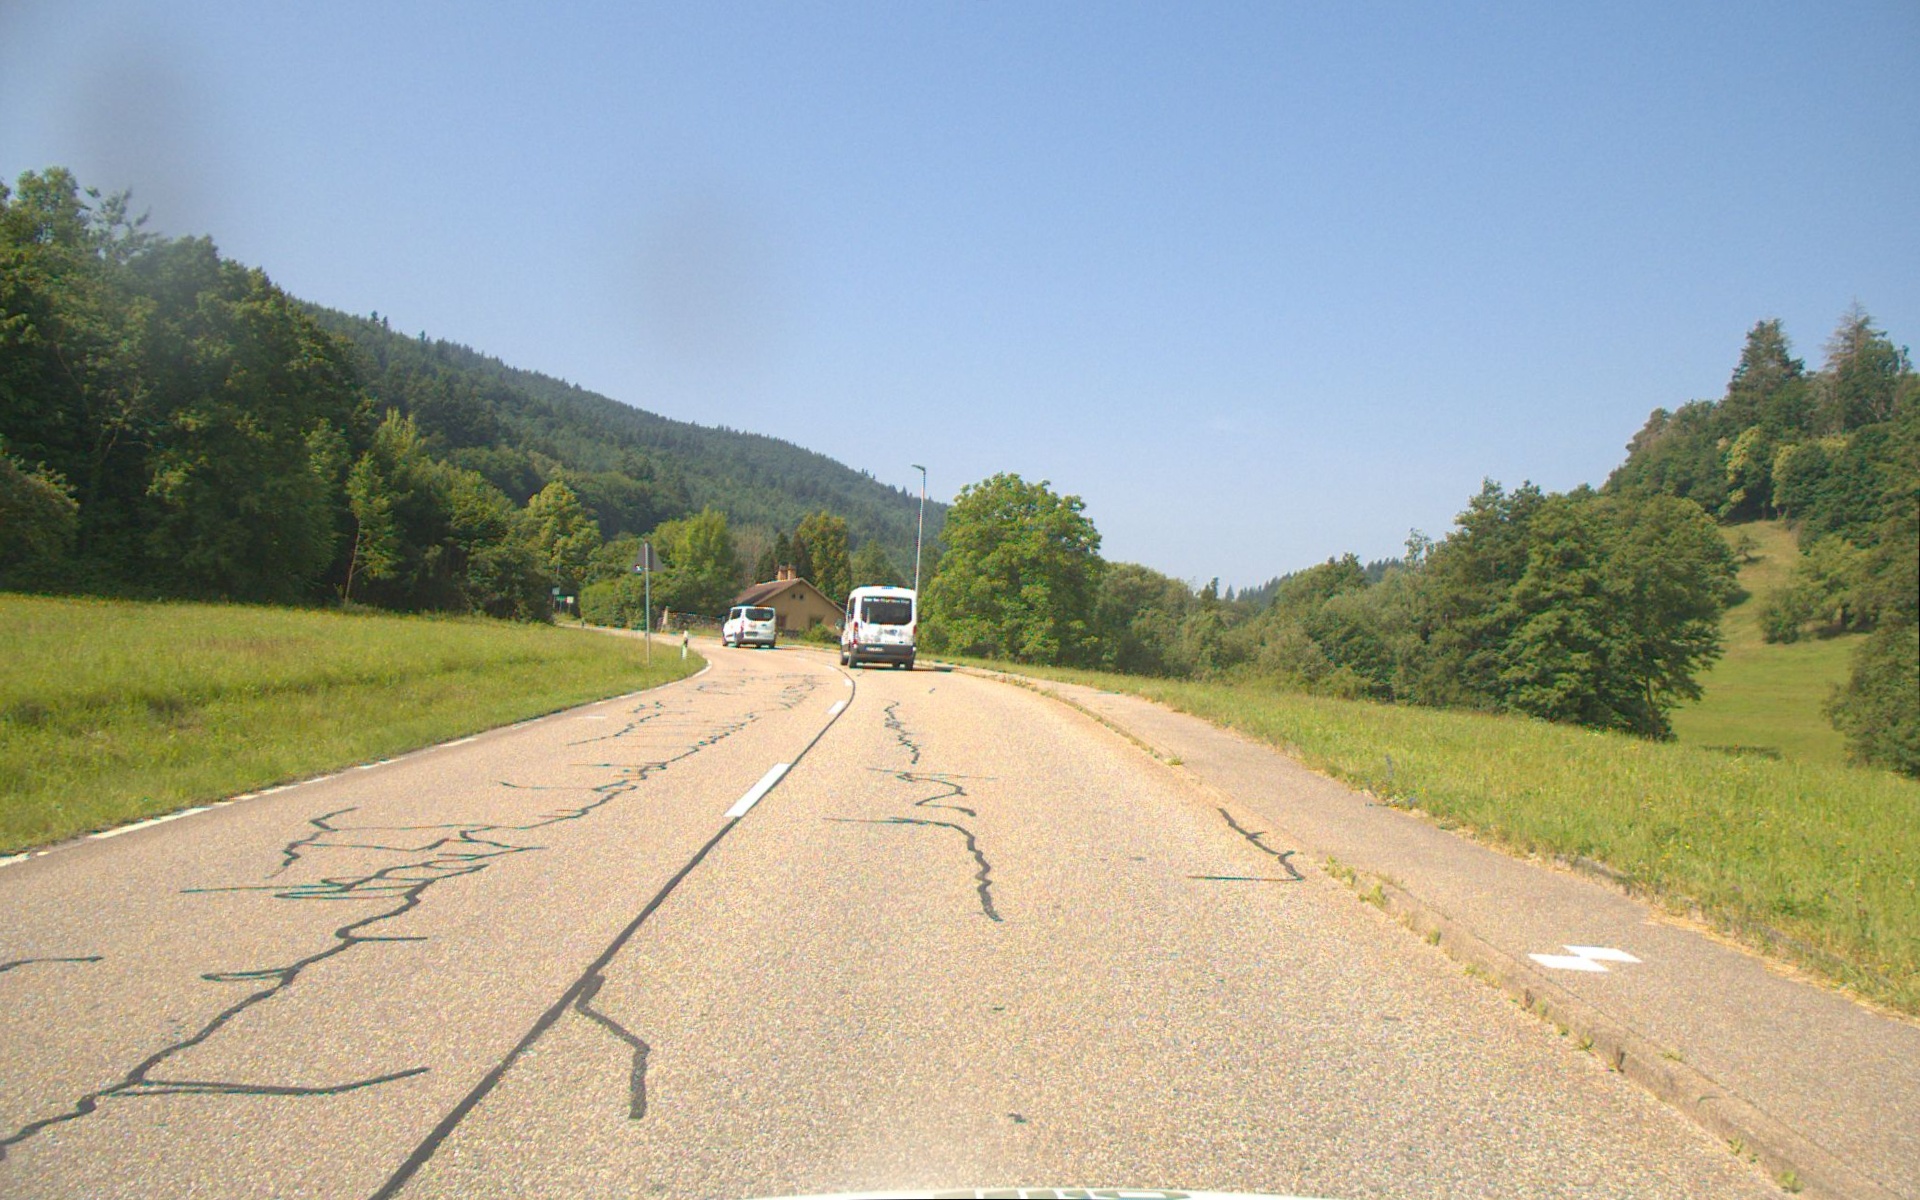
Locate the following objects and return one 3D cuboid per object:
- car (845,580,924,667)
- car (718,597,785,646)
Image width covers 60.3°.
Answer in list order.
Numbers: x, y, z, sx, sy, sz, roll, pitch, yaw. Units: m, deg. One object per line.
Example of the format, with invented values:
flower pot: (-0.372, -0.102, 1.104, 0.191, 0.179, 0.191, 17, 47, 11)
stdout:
car: (-2.430, 0.744, 51.929, 2.180, 2.570, 4.978, -1, -1, -6)
car: (-10.348, 1.077, 81.876, 2.190, 2.327, 4.953, -1, -1, -21)
